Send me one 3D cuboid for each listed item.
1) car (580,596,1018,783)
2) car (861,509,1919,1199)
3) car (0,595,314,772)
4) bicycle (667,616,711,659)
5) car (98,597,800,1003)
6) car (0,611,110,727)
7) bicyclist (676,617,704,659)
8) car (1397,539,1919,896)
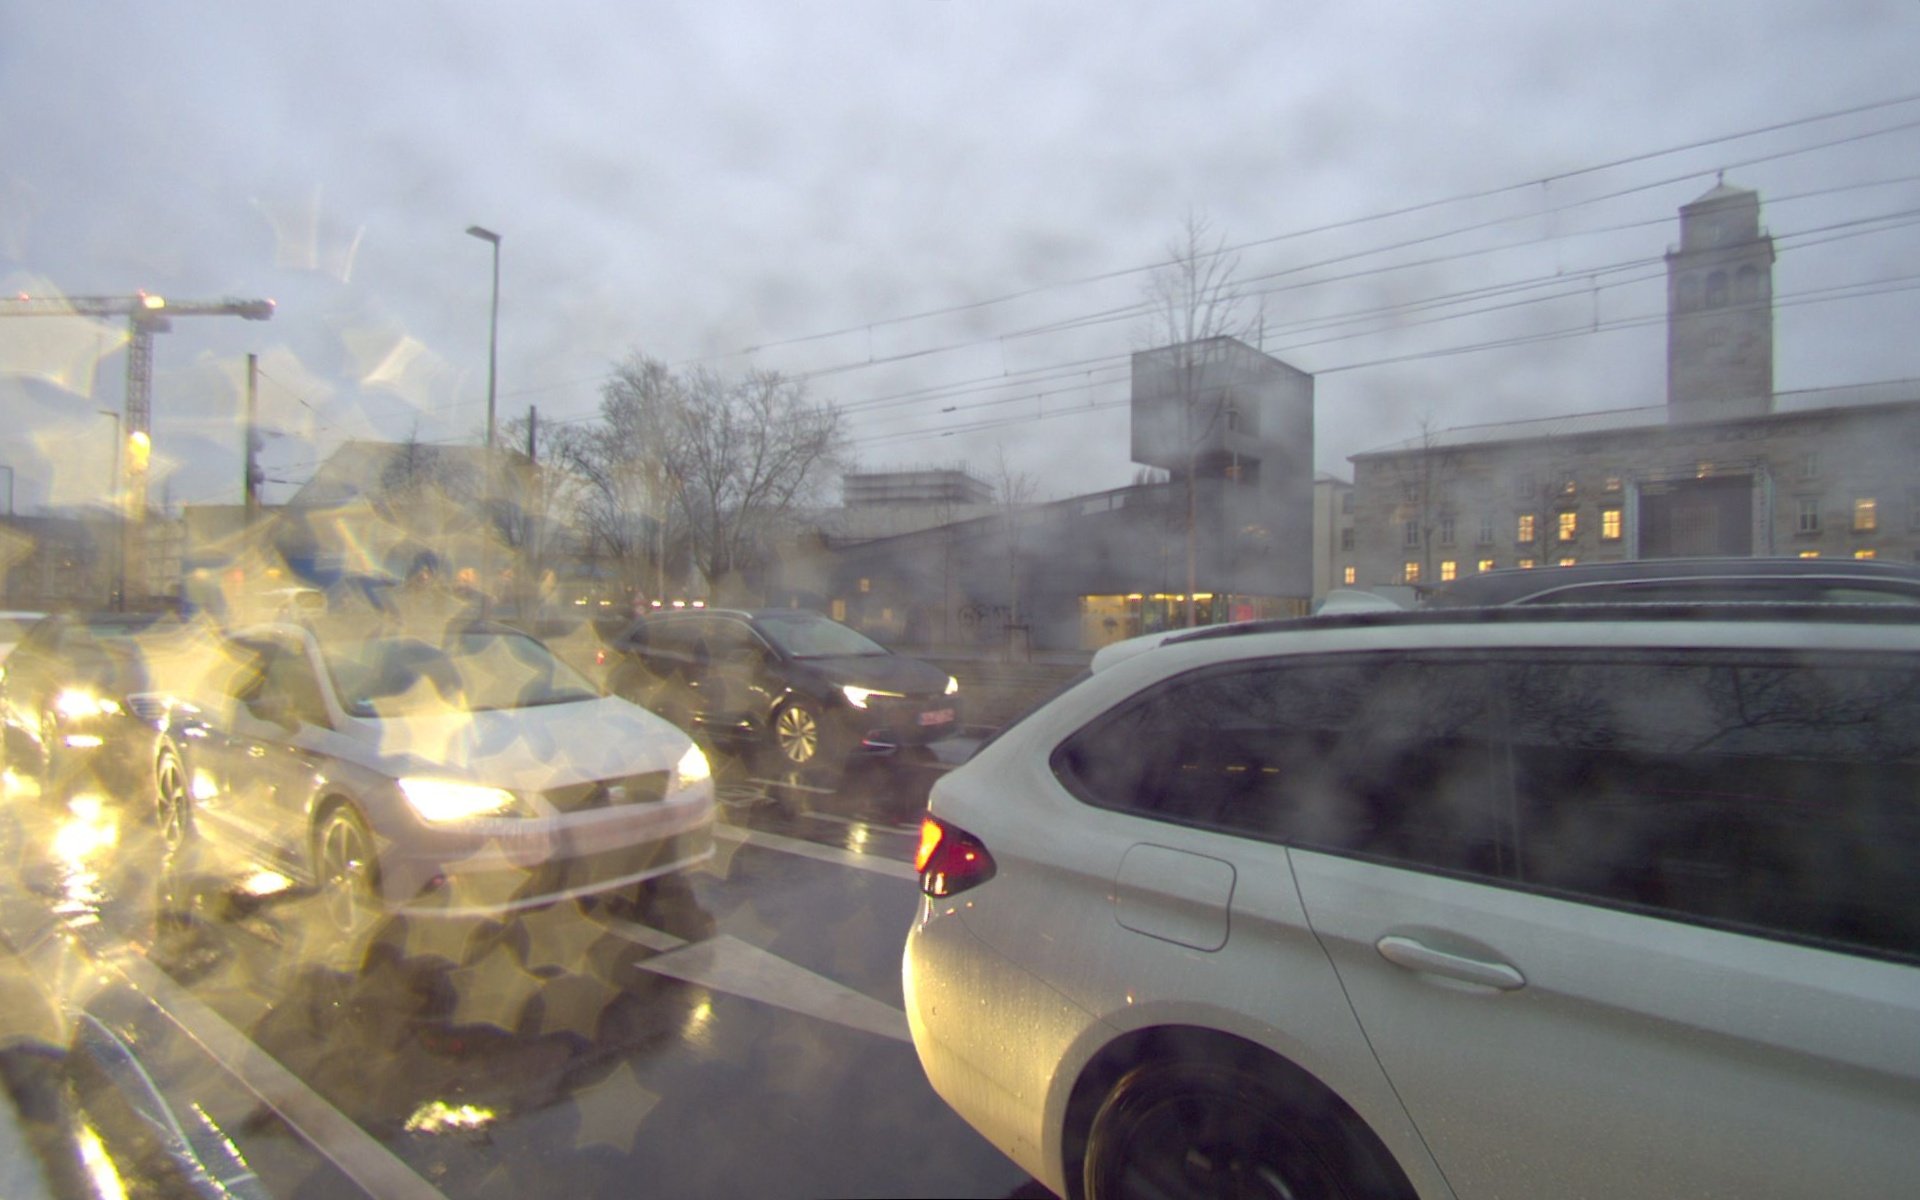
[{"bbox_3d":[-1.822,0.747,10.420,4.659,1.519,1.830,0,-1,39],"label":"car"},{"bbox_3d":[2.142,0.658,1.628,4.557,1.498,1.996,-1,-2,41],"label":"car"},{"bbox_3d":[-8.832,0.755,10.790,4.501,1.498,1.974,-1,-2,39],"label":"car"},{"bbox_3d":[-11.700,1.606,43.640,2.061,1.746,0.754,1,1,38],"label":"bicycle"},{"bbox_3d":[-3.201,0.763,5.914,4.499,1.498,1.926,-1,0,38],"label":"car"},{"bbox_3d":[-14.628,0.978,15.500,3.998,1.586,1.882,0,0,41],"label":"car"},{"bbox_3d":[-11.645,1.604,43.591,0.960,1.746,0.754,1,1,38],"label":"bicyclist"},{"bbox_3d":[4.847,0.538,5.347,4.289,1.596,1.946,0,-1,42],"label":"car"}]
